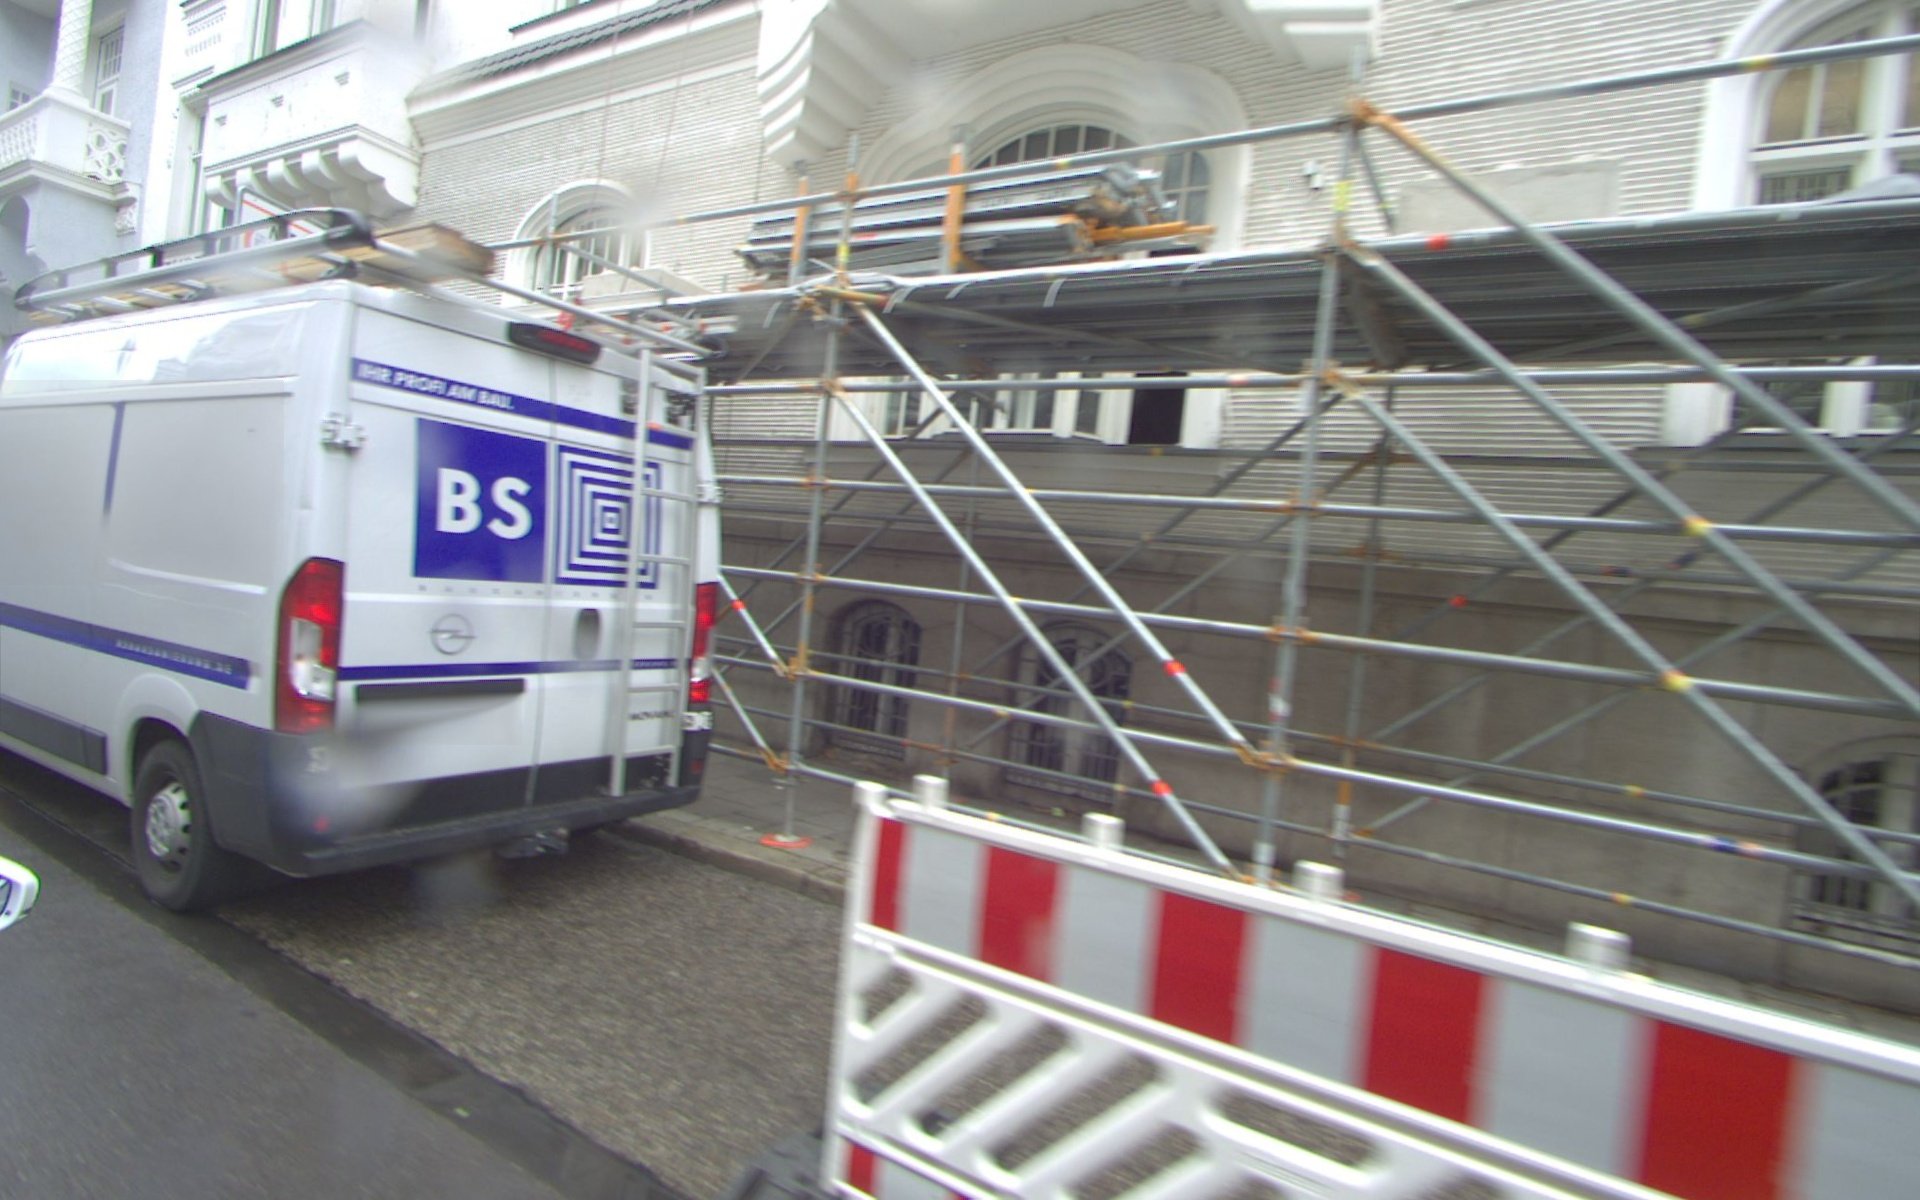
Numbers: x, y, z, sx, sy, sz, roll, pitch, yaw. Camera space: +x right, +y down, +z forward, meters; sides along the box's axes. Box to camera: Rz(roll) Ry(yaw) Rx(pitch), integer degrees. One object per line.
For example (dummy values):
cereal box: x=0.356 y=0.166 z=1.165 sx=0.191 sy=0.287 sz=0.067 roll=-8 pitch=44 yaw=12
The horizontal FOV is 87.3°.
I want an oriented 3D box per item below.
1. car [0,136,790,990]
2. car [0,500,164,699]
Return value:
car: x=-3.753 y=-0.303 z=5.508 sx=5.355 sy=2.723 sz=2.077 roll=6 pitch=2 yaw=32
car: x=-8.676 y=-0.188 z=8.369 sx=4.173 sy=1.425 sz=1.790 roll=6 pitch=0 yaw=31
